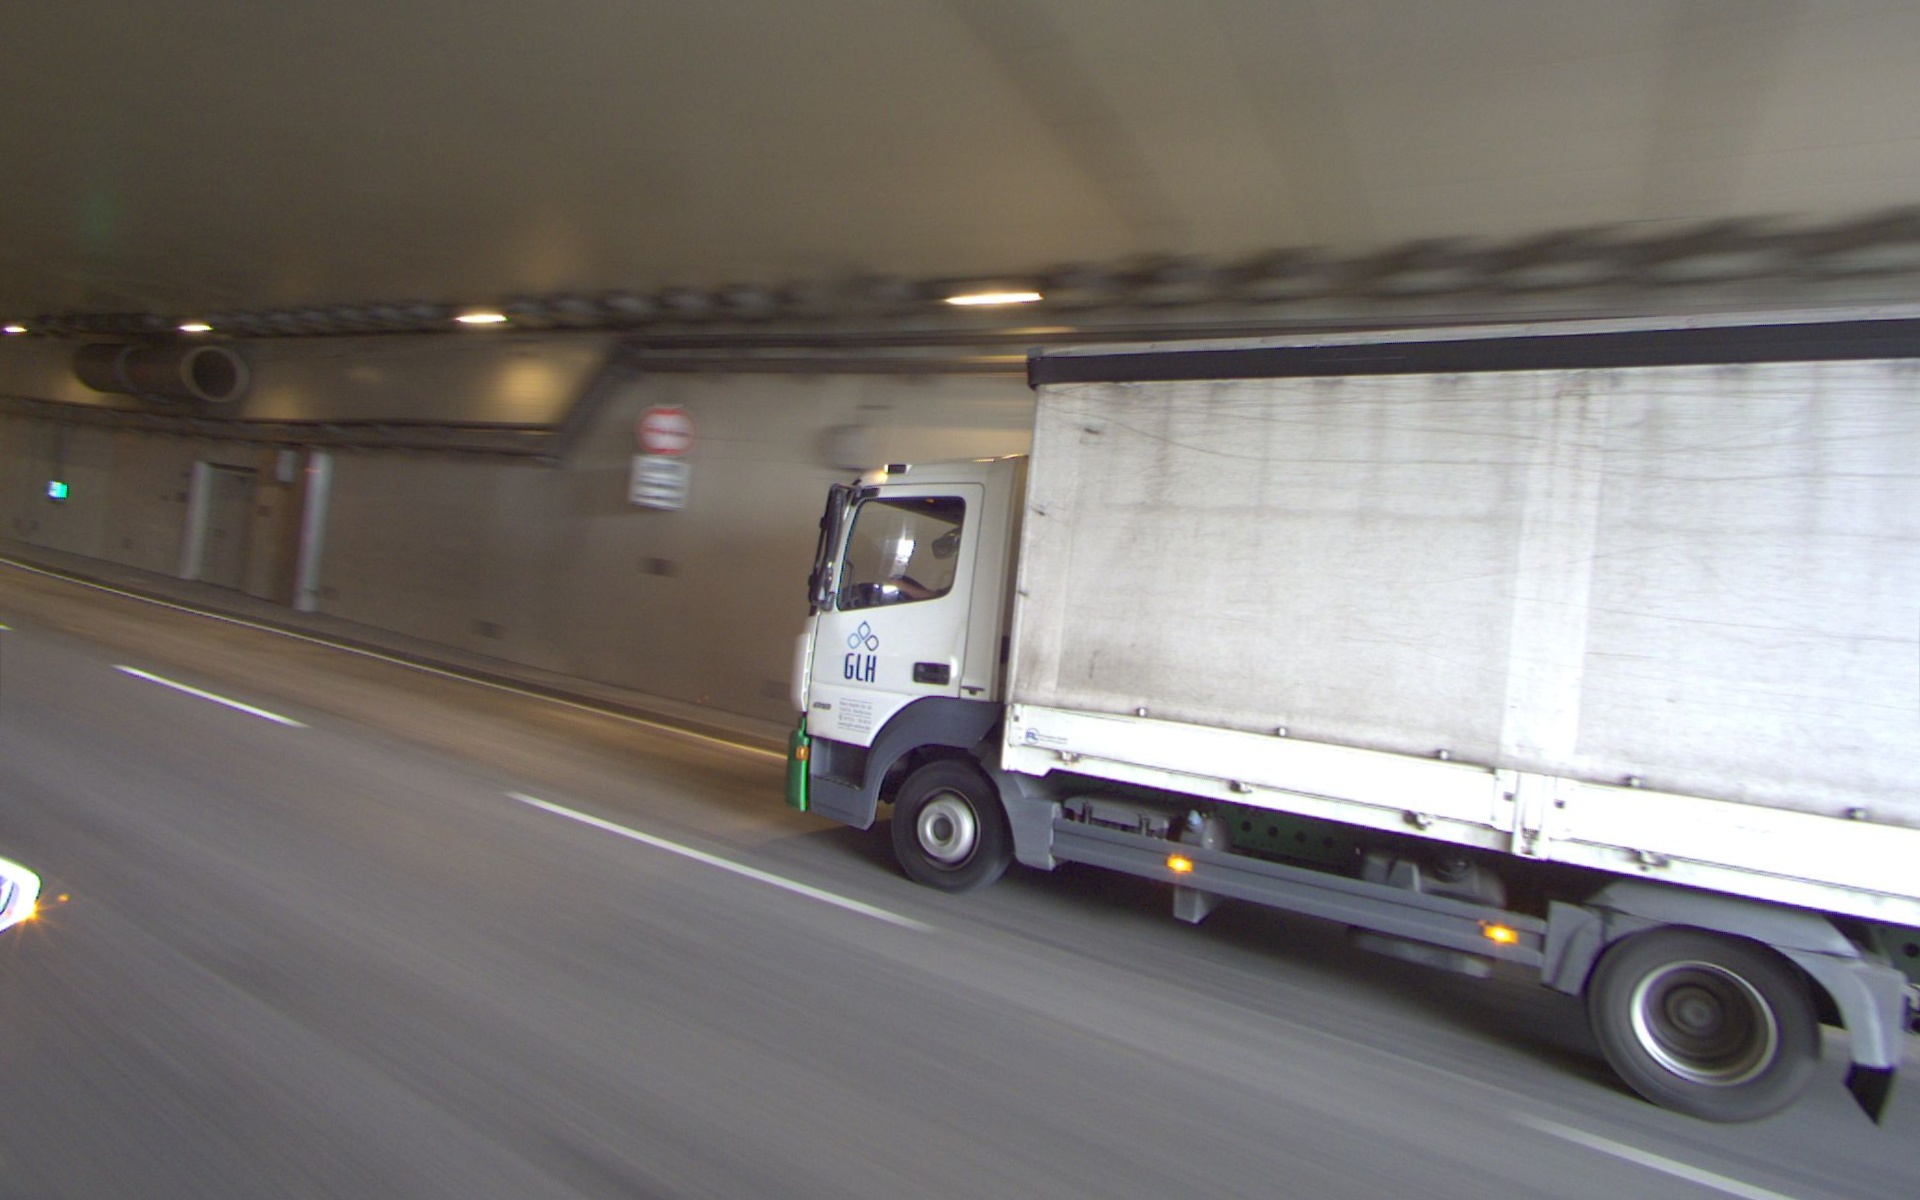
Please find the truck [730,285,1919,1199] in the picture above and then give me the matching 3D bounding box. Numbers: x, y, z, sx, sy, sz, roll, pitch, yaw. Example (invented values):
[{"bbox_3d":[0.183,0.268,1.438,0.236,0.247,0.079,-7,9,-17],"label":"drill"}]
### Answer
[{"bbox_3d":[2.447,0.420,5.584,7.123,3.218,2.559,6,-2,30],"label":"truck"}]
